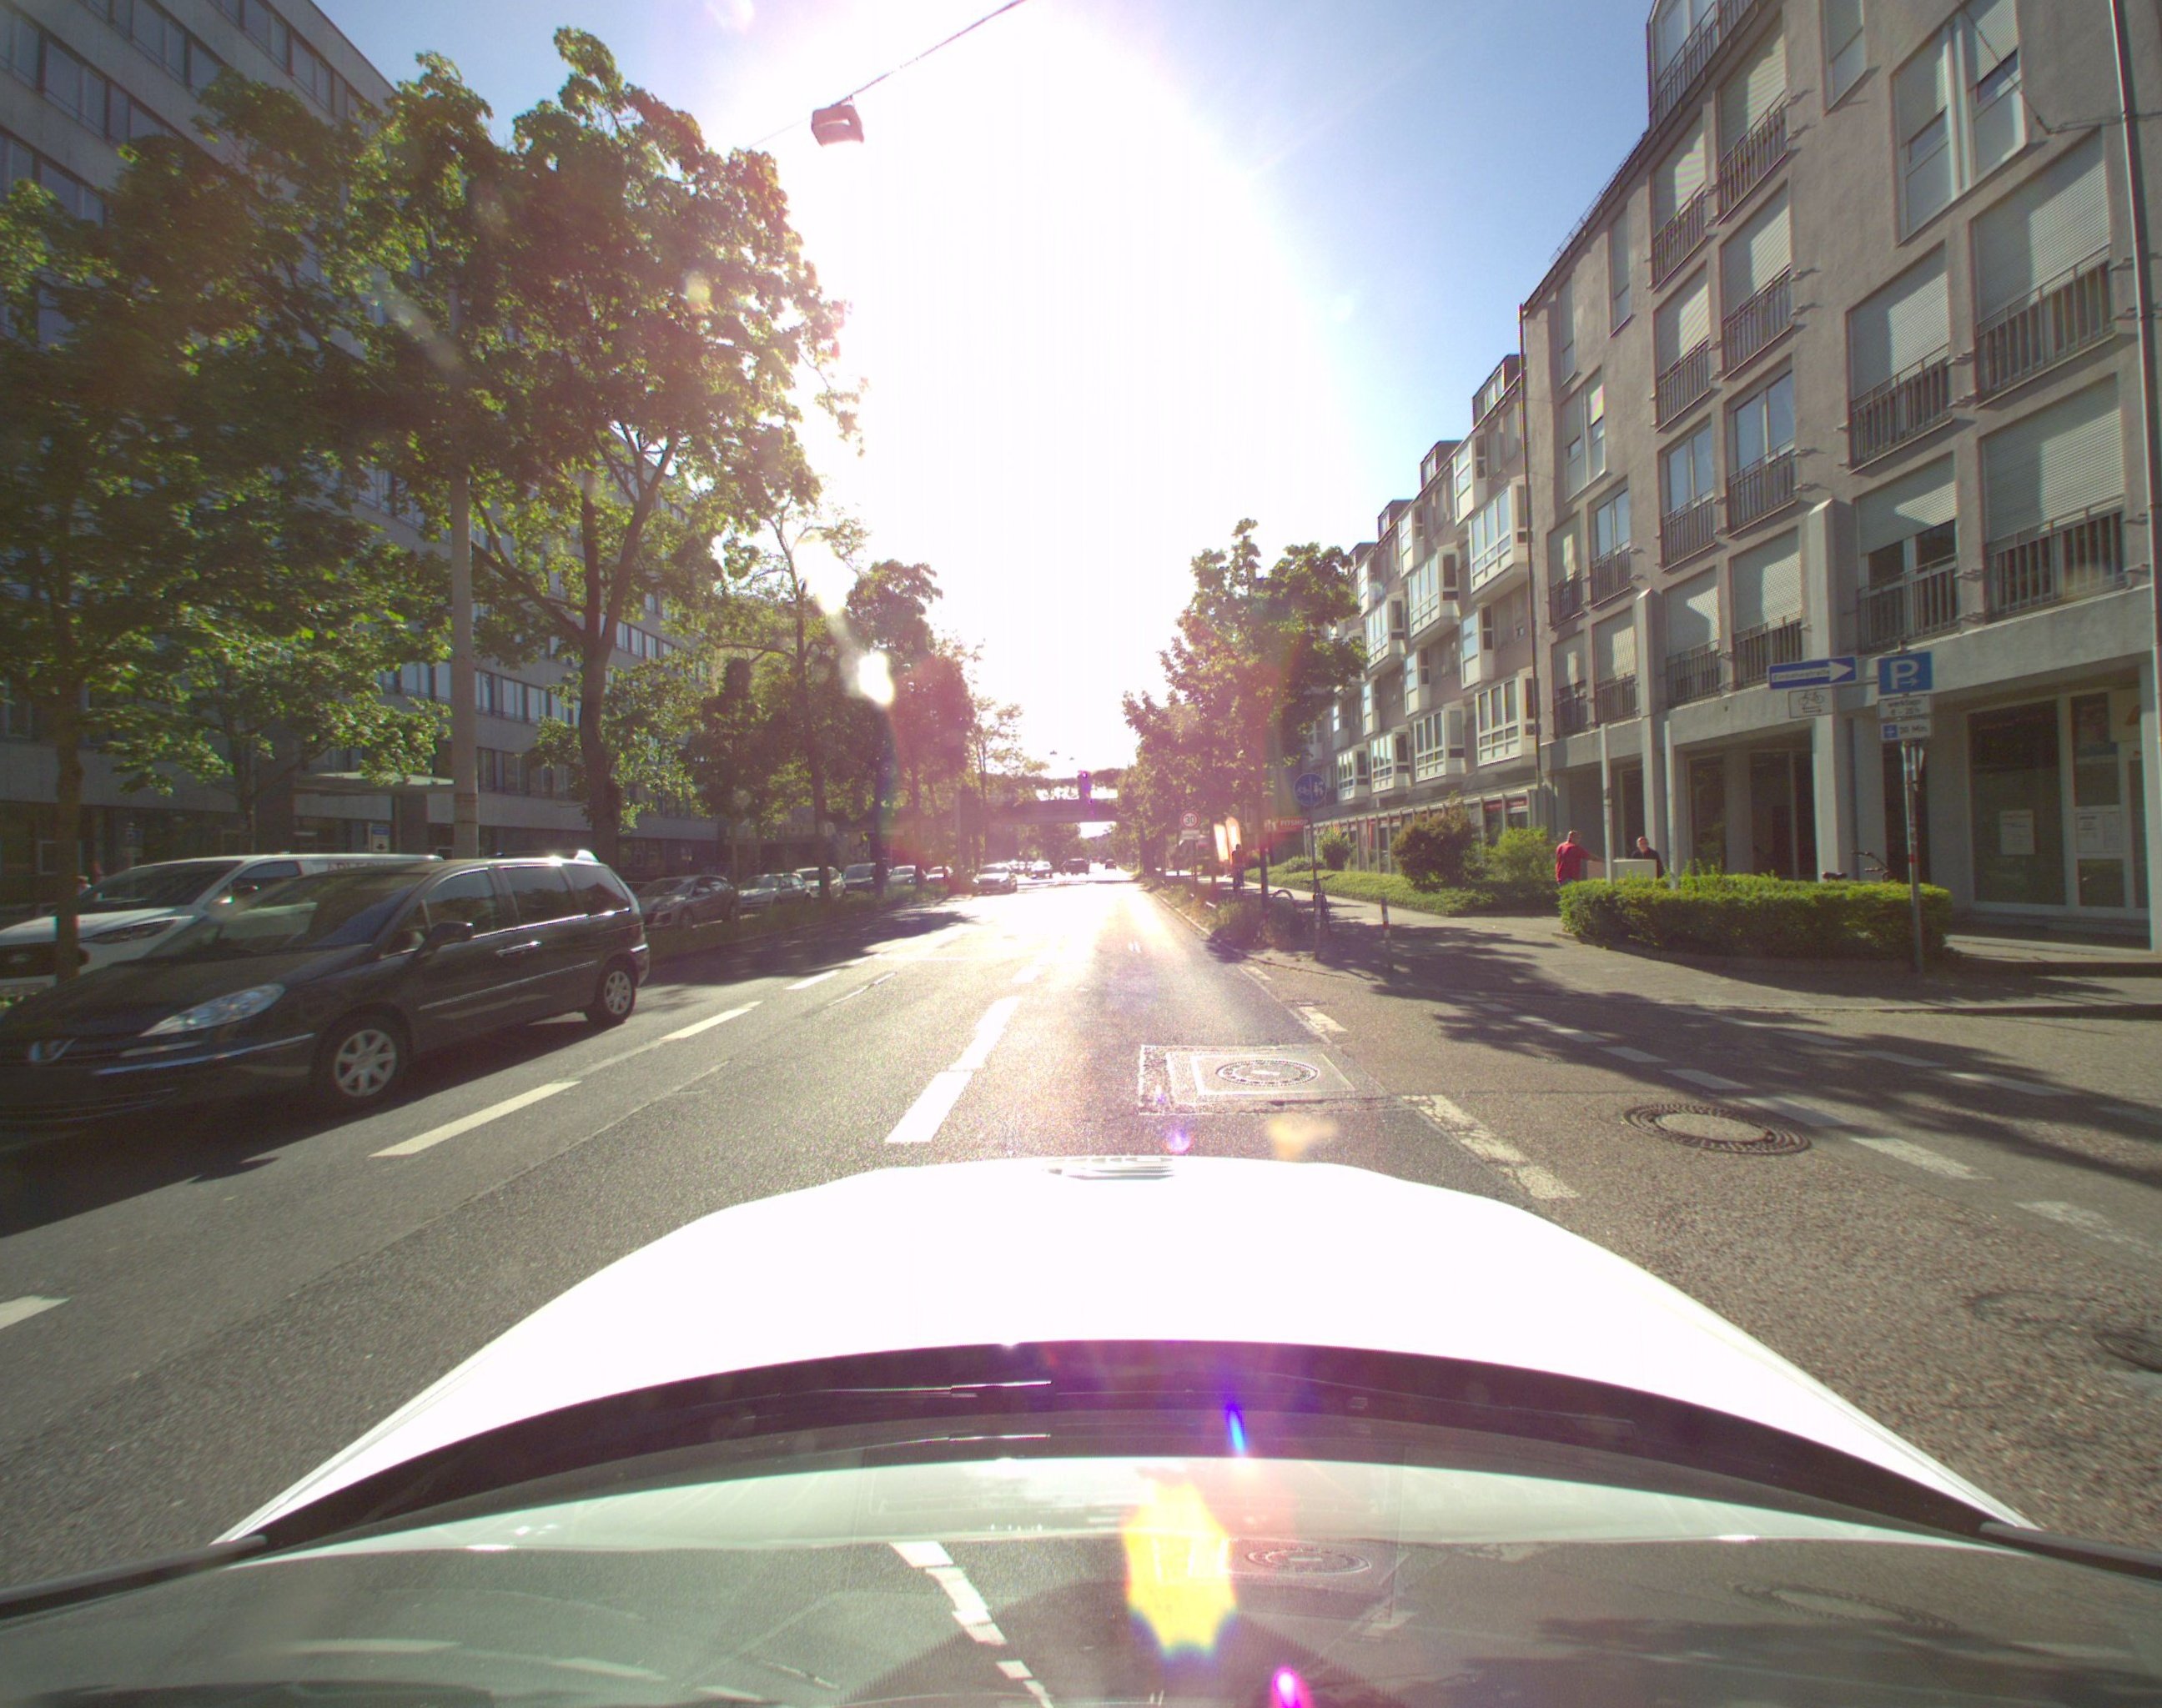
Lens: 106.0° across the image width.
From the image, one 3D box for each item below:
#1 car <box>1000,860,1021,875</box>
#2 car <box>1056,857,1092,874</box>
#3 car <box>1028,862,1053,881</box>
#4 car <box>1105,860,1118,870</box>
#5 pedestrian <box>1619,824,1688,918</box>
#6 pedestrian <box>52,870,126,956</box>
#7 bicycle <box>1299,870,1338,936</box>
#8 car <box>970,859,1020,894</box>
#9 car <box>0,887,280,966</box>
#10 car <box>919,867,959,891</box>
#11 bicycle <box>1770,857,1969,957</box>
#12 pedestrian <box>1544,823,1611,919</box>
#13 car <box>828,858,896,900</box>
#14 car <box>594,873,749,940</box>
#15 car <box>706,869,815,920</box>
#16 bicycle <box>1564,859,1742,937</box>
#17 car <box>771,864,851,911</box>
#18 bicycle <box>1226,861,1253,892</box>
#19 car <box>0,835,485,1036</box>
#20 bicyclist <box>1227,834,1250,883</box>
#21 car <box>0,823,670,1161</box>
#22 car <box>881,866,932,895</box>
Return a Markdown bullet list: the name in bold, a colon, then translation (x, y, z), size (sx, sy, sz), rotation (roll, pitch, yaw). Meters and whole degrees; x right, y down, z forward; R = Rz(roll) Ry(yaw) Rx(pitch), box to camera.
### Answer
- **car**: translation (-7.683, 1.481, 89.175), size (1.849, 1.523, 4.077), rotation (-1, 0, 1)
- **car**: translation (-0.725, 1.104, 78.749), size (1.994, 1.600, 4.106), rotation (-1, 0, -25)
- **car**: translation (-3.481, 1.482, 70.556), size (1.849, 1.440, 4.319), rotation (-3, -1, 1)
- **car**: translation (4.524, 1.626, 120.350), size (1.848, 1.523, 4.322), rotation (-1, 0, 3)
- **pedestrian**: translation (10.192, 0.303, 14.515), size (0.652, 1.604, 0.602), rotation (-4, -1, -4)
- **pedestrian**: translation (-24.604, 1.449, 20.211), size (0.768, 2.093, 0.792), rotation (0, -2, 3)
- **bicycle**: translation (4.277, 0.840, 14.581), size (0.586, 1.066, 2.032), rotation (-2, 0, 18)
- **car**: translation (-4.268, 1.102, 41.240), size (1.849, 1.568, 4.716), rotation (-3, -1, 1)
- **car**: translation (-20.613, 1.529, 17.789), size (4.292, 1.523, 1.861), rotation (-1, -1, -1)
- **car**: translation (-9.636, 1.651, 55.622), size (1.849, 1.523, 4.319), rotation (-1, 0, 1)
- **bicycle**: translation (9.884, 0.616, 10.351), size (0.681, 1.027, 2.209), rotation (-3, 1, 10)
- **pedestrian**: translation (8.706, 0.294, 14.291), size (0.652, 1.604, 0.602), rotation (-4, -1, -4)
- **car**: translation (-10.182, 1.111, 38.163), size (1.849, 1.850, 4.562), rotation (-1, 0, 1)
- **car**: translation (-10.693, 1.316, 21.672), size (1.849, 1.523, 4.320), rotation (-1, 0, 1)
- **car**: translation (-10.562, 1.288, 27.190), size (1.848, 1.523, 4.067), rotation (-1, 0, 3)
- **bicycle**: translation (8.758, 0.664, 12.527), size (2.186, 1.027, 0.688), rotation (-3, 1, 3)
- **car**: translation (-10.508, 1.248, 32.075), size (1.852, 1.684, 4.658), rotation (-1, 0, -4)
- **bicycle**: translation (5.614, 0.795, 28.888), size (0.587, 1.027, 1.860), rotation (-1, -1, 1)
- **car**: translation (-11.243, 0.917, 11.351), size (1.975, 2.076, 5.194), rotation (-3, -1, -1)
- **bicyclist**: translation (5.603, 0.173, 29.015), size (0.665, 1.695, 0.889), rotation (-1, -1, 1)
- **car**: translation (-5.686, 0.807, 6.879), size (1.848, 1.825, 4.612), rotation (-3, -1, 2)
- **car**: translation (-9.805, 1.462, 45.996), size (1.848, 1.568, 3.873), rotation (-1, 0, 2)
